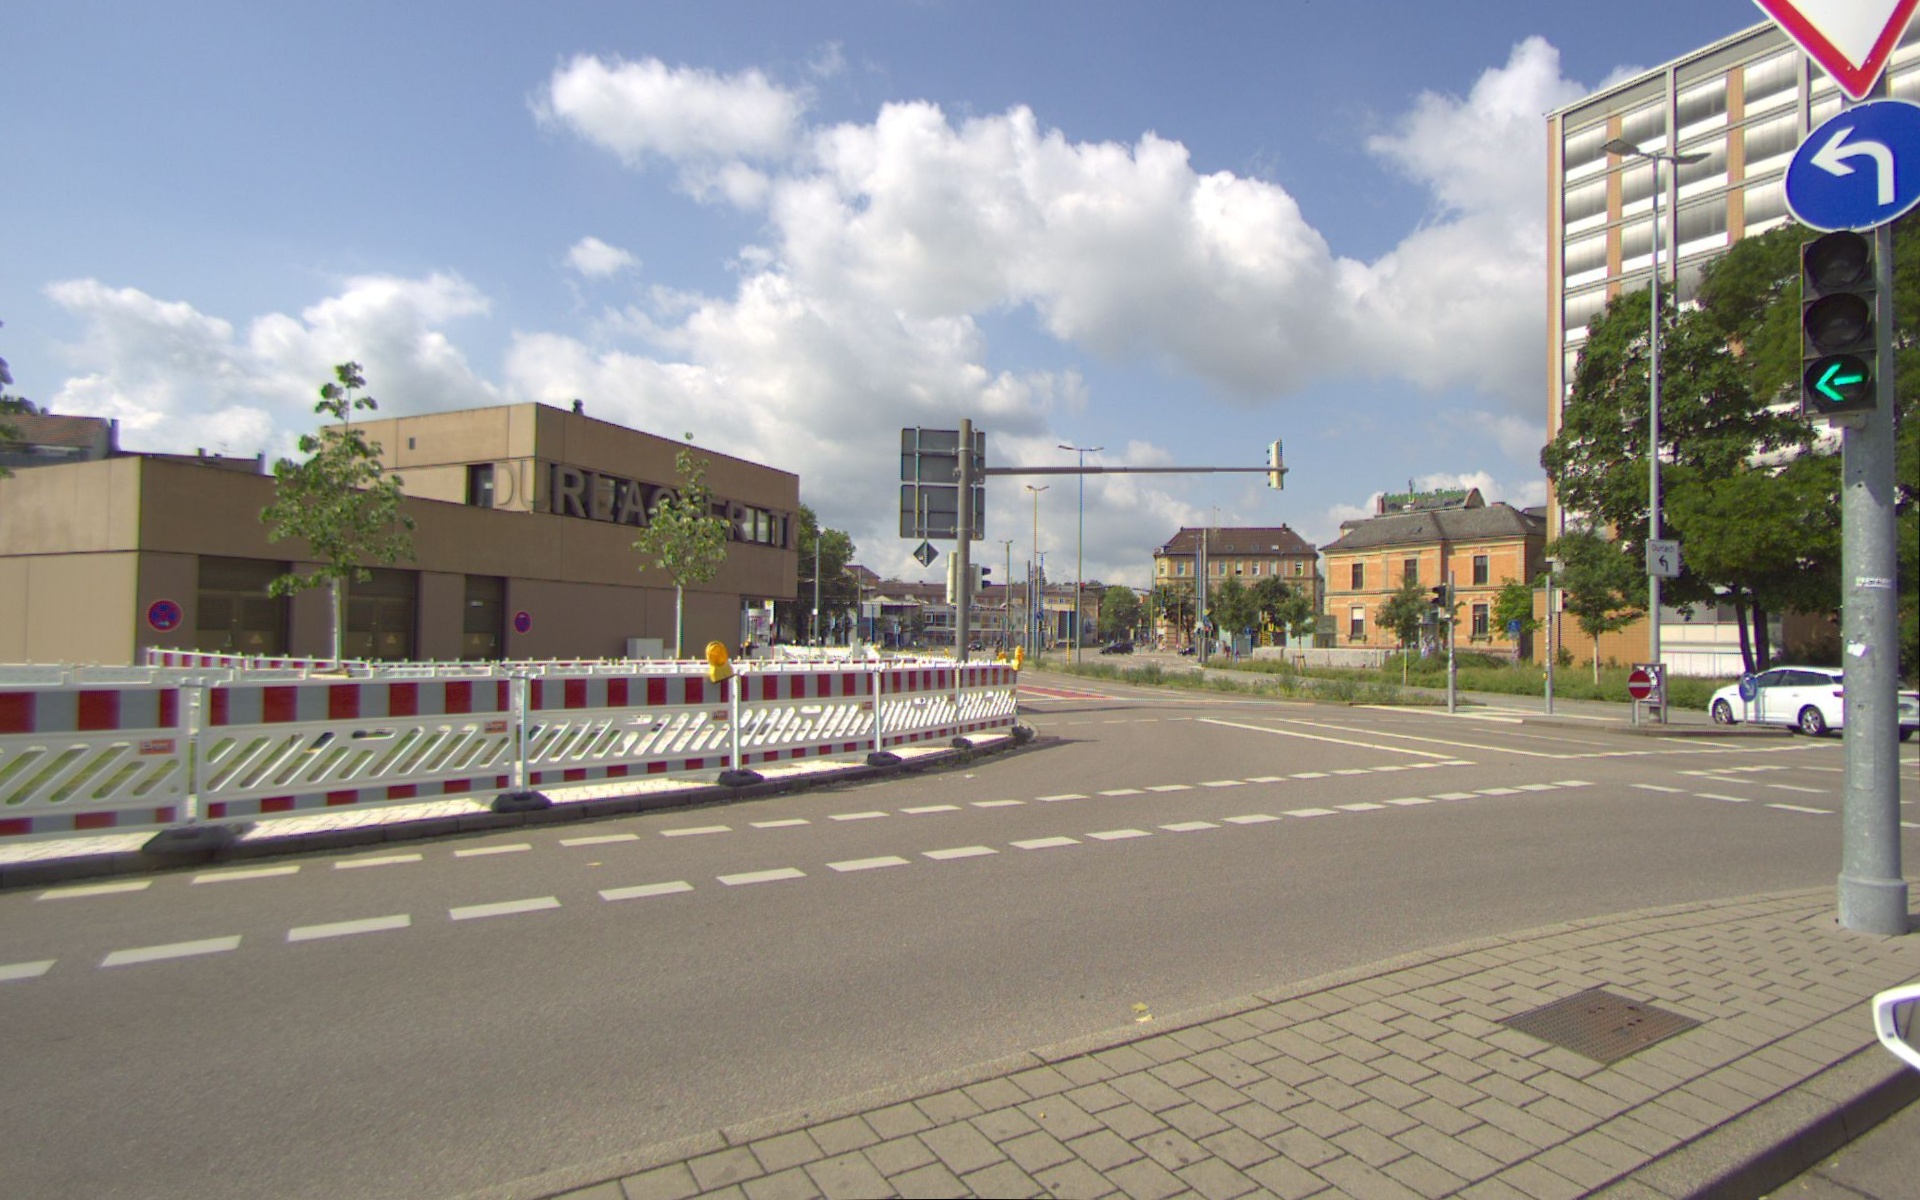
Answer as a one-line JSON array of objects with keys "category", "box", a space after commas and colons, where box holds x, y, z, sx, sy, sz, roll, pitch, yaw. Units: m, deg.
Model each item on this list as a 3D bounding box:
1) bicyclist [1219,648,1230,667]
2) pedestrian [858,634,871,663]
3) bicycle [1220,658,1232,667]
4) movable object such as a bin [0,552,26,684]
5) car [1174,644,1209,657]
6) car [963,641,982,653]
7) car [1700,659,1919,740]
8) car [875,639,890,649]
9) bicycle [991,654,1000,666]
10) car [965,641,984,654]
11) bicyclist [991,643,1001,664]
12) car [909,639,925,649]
[{"category": "bicyclist", "box": [24.171, 5.262, 91.782, 0.723, 1.724, 0.965, -1, -2, -1]}, {"category": "pedestrian", "box": [-5.641, 2.865, 59.514, 0.724, 1.703, 0.640, 1, -2, -8]}, {"category": "bicycle", "box": [24.173, 5.673, 91.460, 0.614, 0.821, 1.789, 0, -2, 0]}, {"category": "movable object such as a bin", "box": [-28.340, 0.323, 23.037, 2.965, 3.468, 9.679, 0, -2, 26]}, {"category": "car", "box": [29.205, 6.411, 126.630, 4.019, 1.528, 1.806, 2, -2, -20]}, {"category": "car", "box": [1.692, 6.255, 135.029, 1.959, 1.550, 4.003, 0, -2, 10]}, {"category": "car", "box": [18.425, 2.068, 21.784, 1.816, 1.491, 4.338, 0, -2, 5]}, {"category": "car", "box": [-13.124, 7.447, 170.339, 1.965, 1.572, 4.071, 2, -2, -11]}, {"category": "bicycle", "box": [3.150, 5.345, 89.890, 0.606, 1.015, 2.020, 1, -2, 7]}, {"category": "car", "box": [1.955, 6.345, 134.897, 1.814, 1.742, 4.003, 0, -2, 13]}, {"category": "bicyclist", "box": [3.209, 4.798, 90.006, 0.797, 1.846, 1.160, 1, -2, 7]}, {"category": "car", "box": [-7.346, 7.462, 172.093, 1.967, 1.617, 3.988, 2, -2, -15]}]
